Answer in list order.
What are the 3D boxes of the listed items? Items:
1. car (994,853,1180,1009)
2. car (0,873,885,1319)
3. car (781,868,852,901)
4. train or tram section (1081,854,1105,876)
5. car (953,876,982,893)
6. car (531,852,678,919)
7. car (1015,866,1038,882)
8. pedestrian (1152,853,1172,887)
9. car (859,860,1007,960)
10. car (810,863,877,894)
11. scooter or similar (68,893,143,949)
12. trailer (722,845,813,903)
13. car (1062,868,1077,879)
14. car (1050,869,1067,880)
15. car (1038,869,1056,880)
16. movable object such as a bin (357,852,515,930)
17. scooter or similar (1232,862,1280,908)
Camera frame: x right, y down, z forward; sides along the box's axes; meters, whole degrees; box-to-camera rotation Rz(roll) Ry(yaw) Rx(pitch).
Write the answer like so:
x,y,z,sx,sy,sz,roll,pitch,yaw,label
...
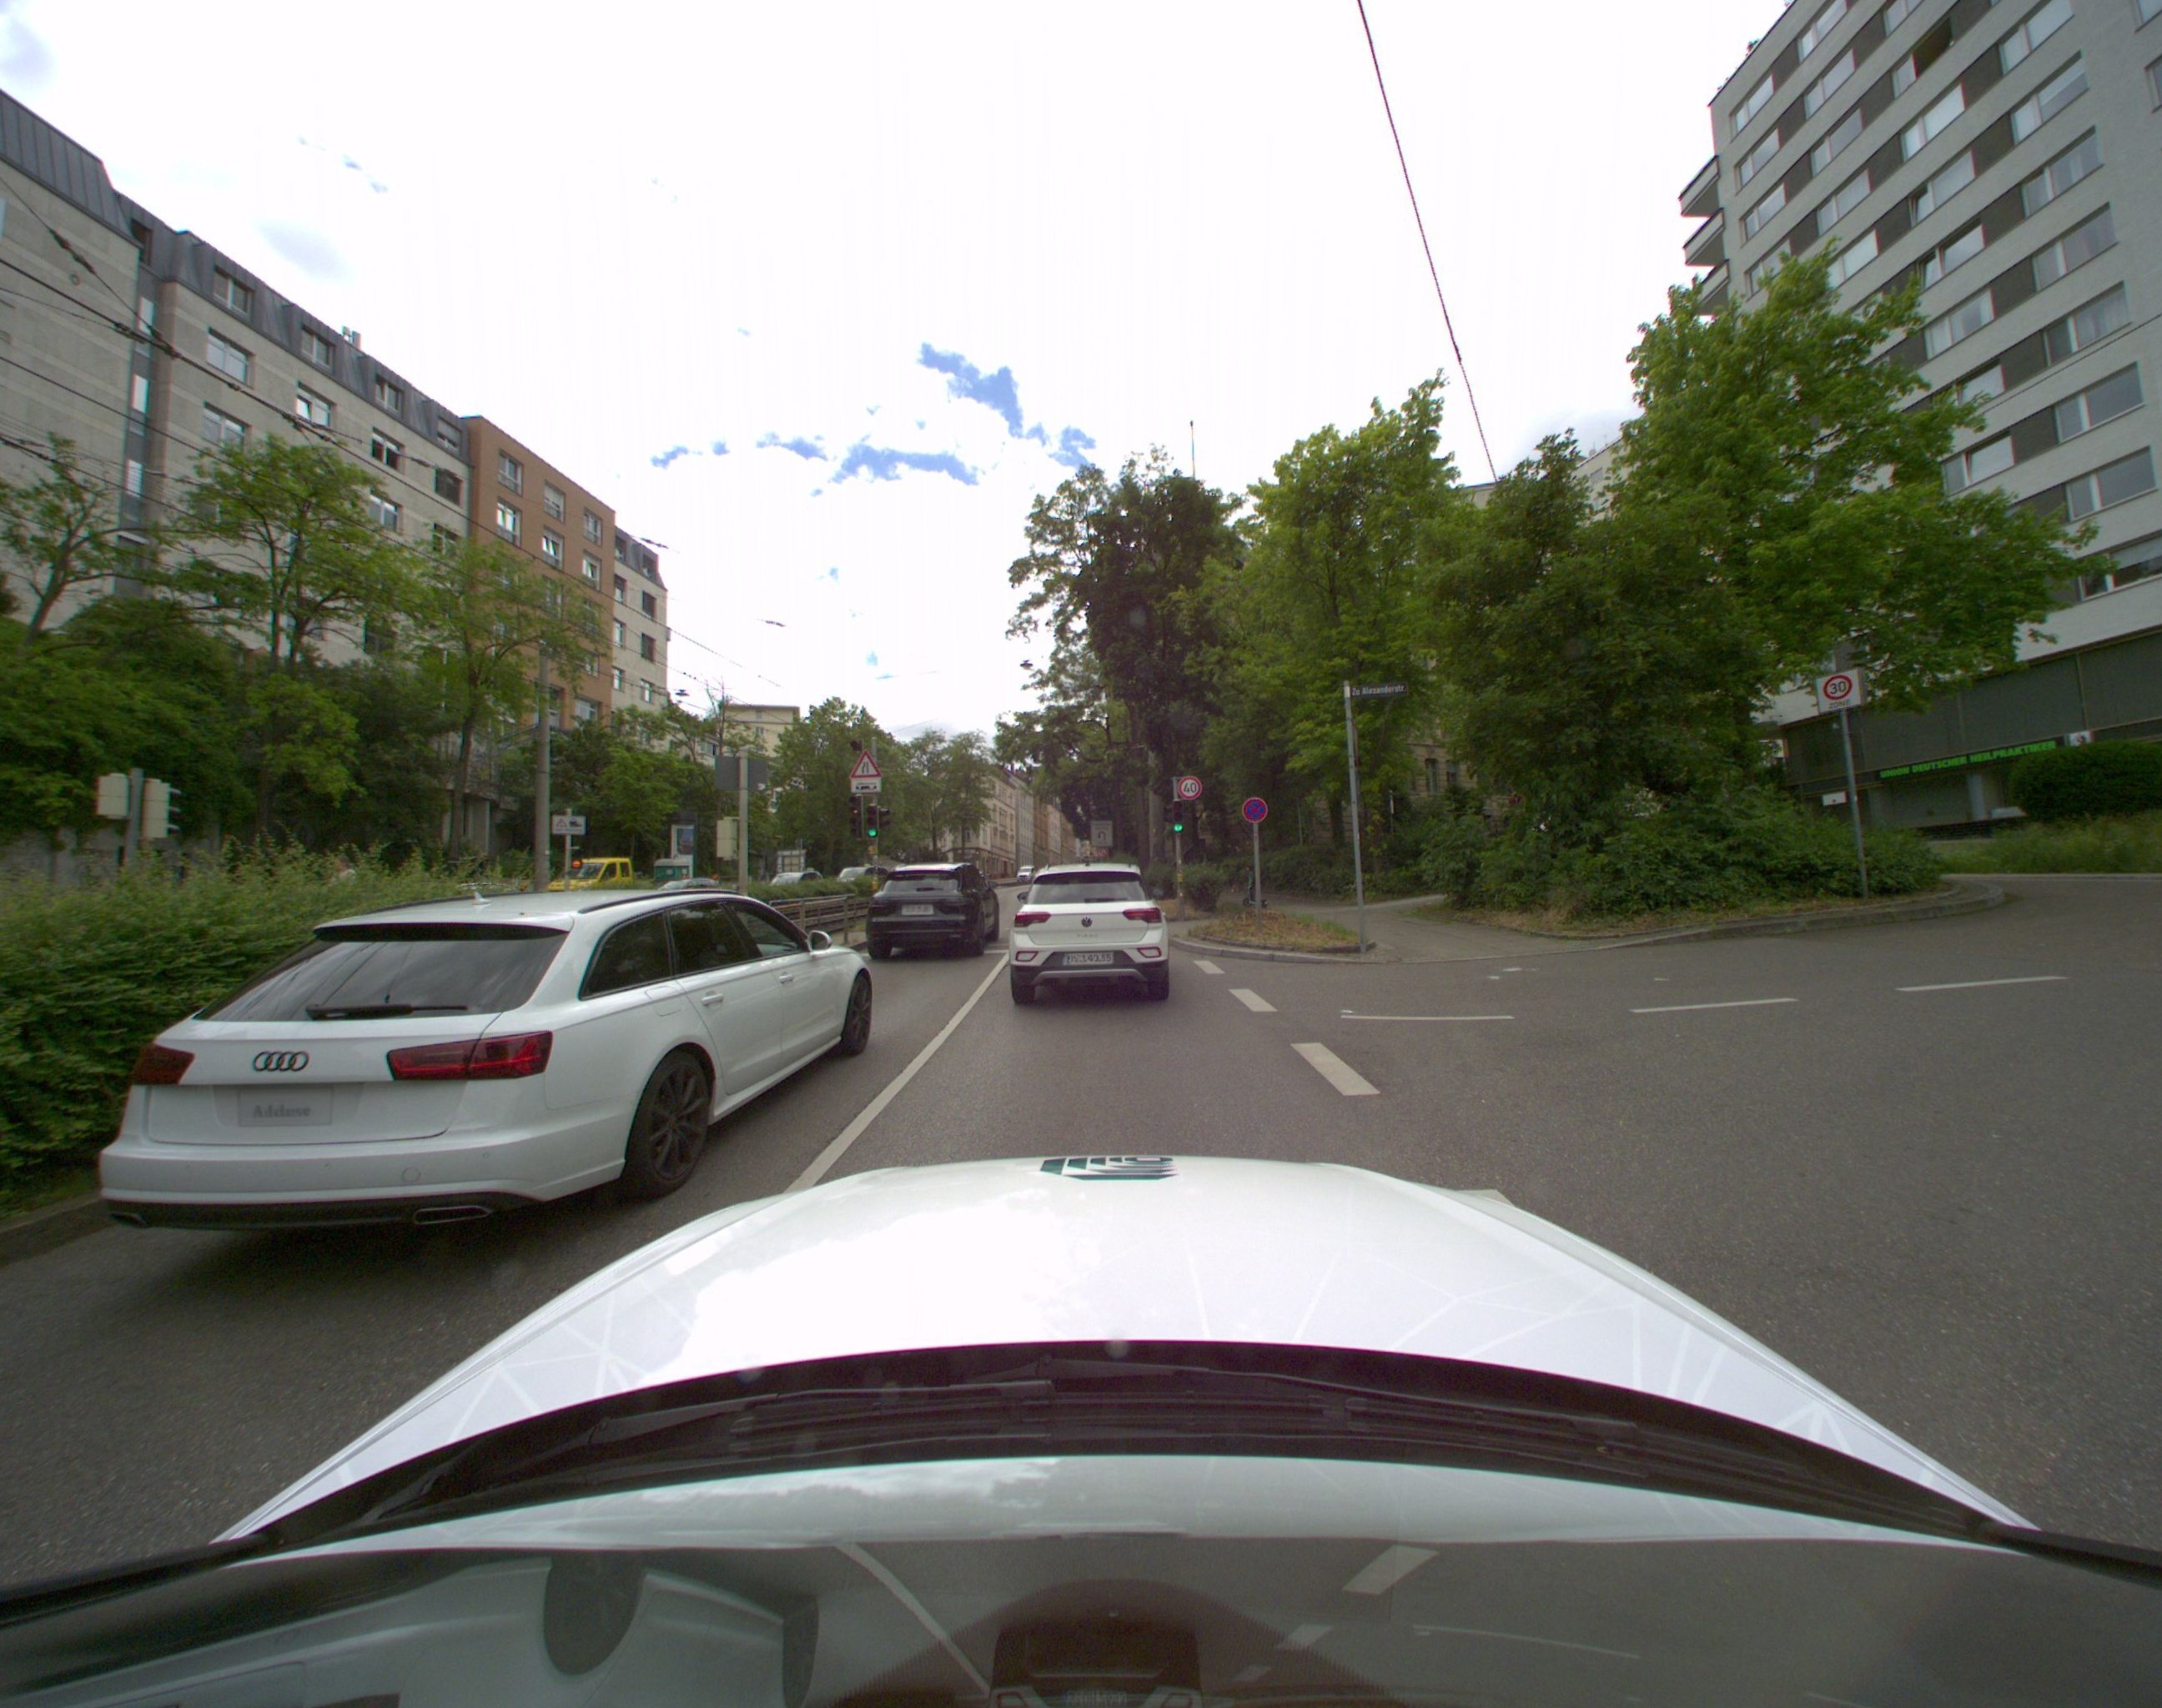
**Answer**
x,y,z,sx,sy,sz,roll,pitch,yaw,label
0.120,0.835,10.444,1.872,1.555,4.001,-2,-1,2,car
-2.811,0.889,5.122,1.872,1.455,4.618,-2,-1,2,car
-14.120,1.594,43.789,1.984,1.605,4.625,-2,-1,4,car
2.335,2.057,149.795,2.867,3.726,14.880,0,-1,6,train or tram section
-10.564,2.835,75.833,1.758,1.408,4.087,-2,-1,5,car
-20.549,1.279,35.561,2.146,2.594,6.345,-2,-1,5,car
-6.835,2.486,102.232,1.937,1.946,5.012,-2,-1,7,car
4.067,0.799,40.920,0.770,1.703,0.784,-2,-1,-5,pedestrian
-2.643,0.957,15.611,2.032,1.571,4.356,-2,-1,-1,car
-13.703,1.397,47.282,1.983,1.605,4.618,-2,-1,7,car
-24.526,1.669,20.496,0.427,1.289,1.288,-2,0,-9,scooter or similar
-16.857,1.066,44.117,2.007,2.973,5.603,-1,-1,9,trailer
-1.970,3.231,135.441,1.984,1.552,4.006,-2,-1,5,car
-3.405,3.072,124.751,1.984,1.552,4.006,-2,-1,5,car
-4.896,2.939,116.924,1.984,1.552,4.006,-2,-1,5,car
-21.917,1.204,27.925,1.924,2.468,4.104,0,0,5,movable object such as a bin
4.836,0.853,22.603,0.631,1.210,1.550,-2,-1,-14,scooter or similar
